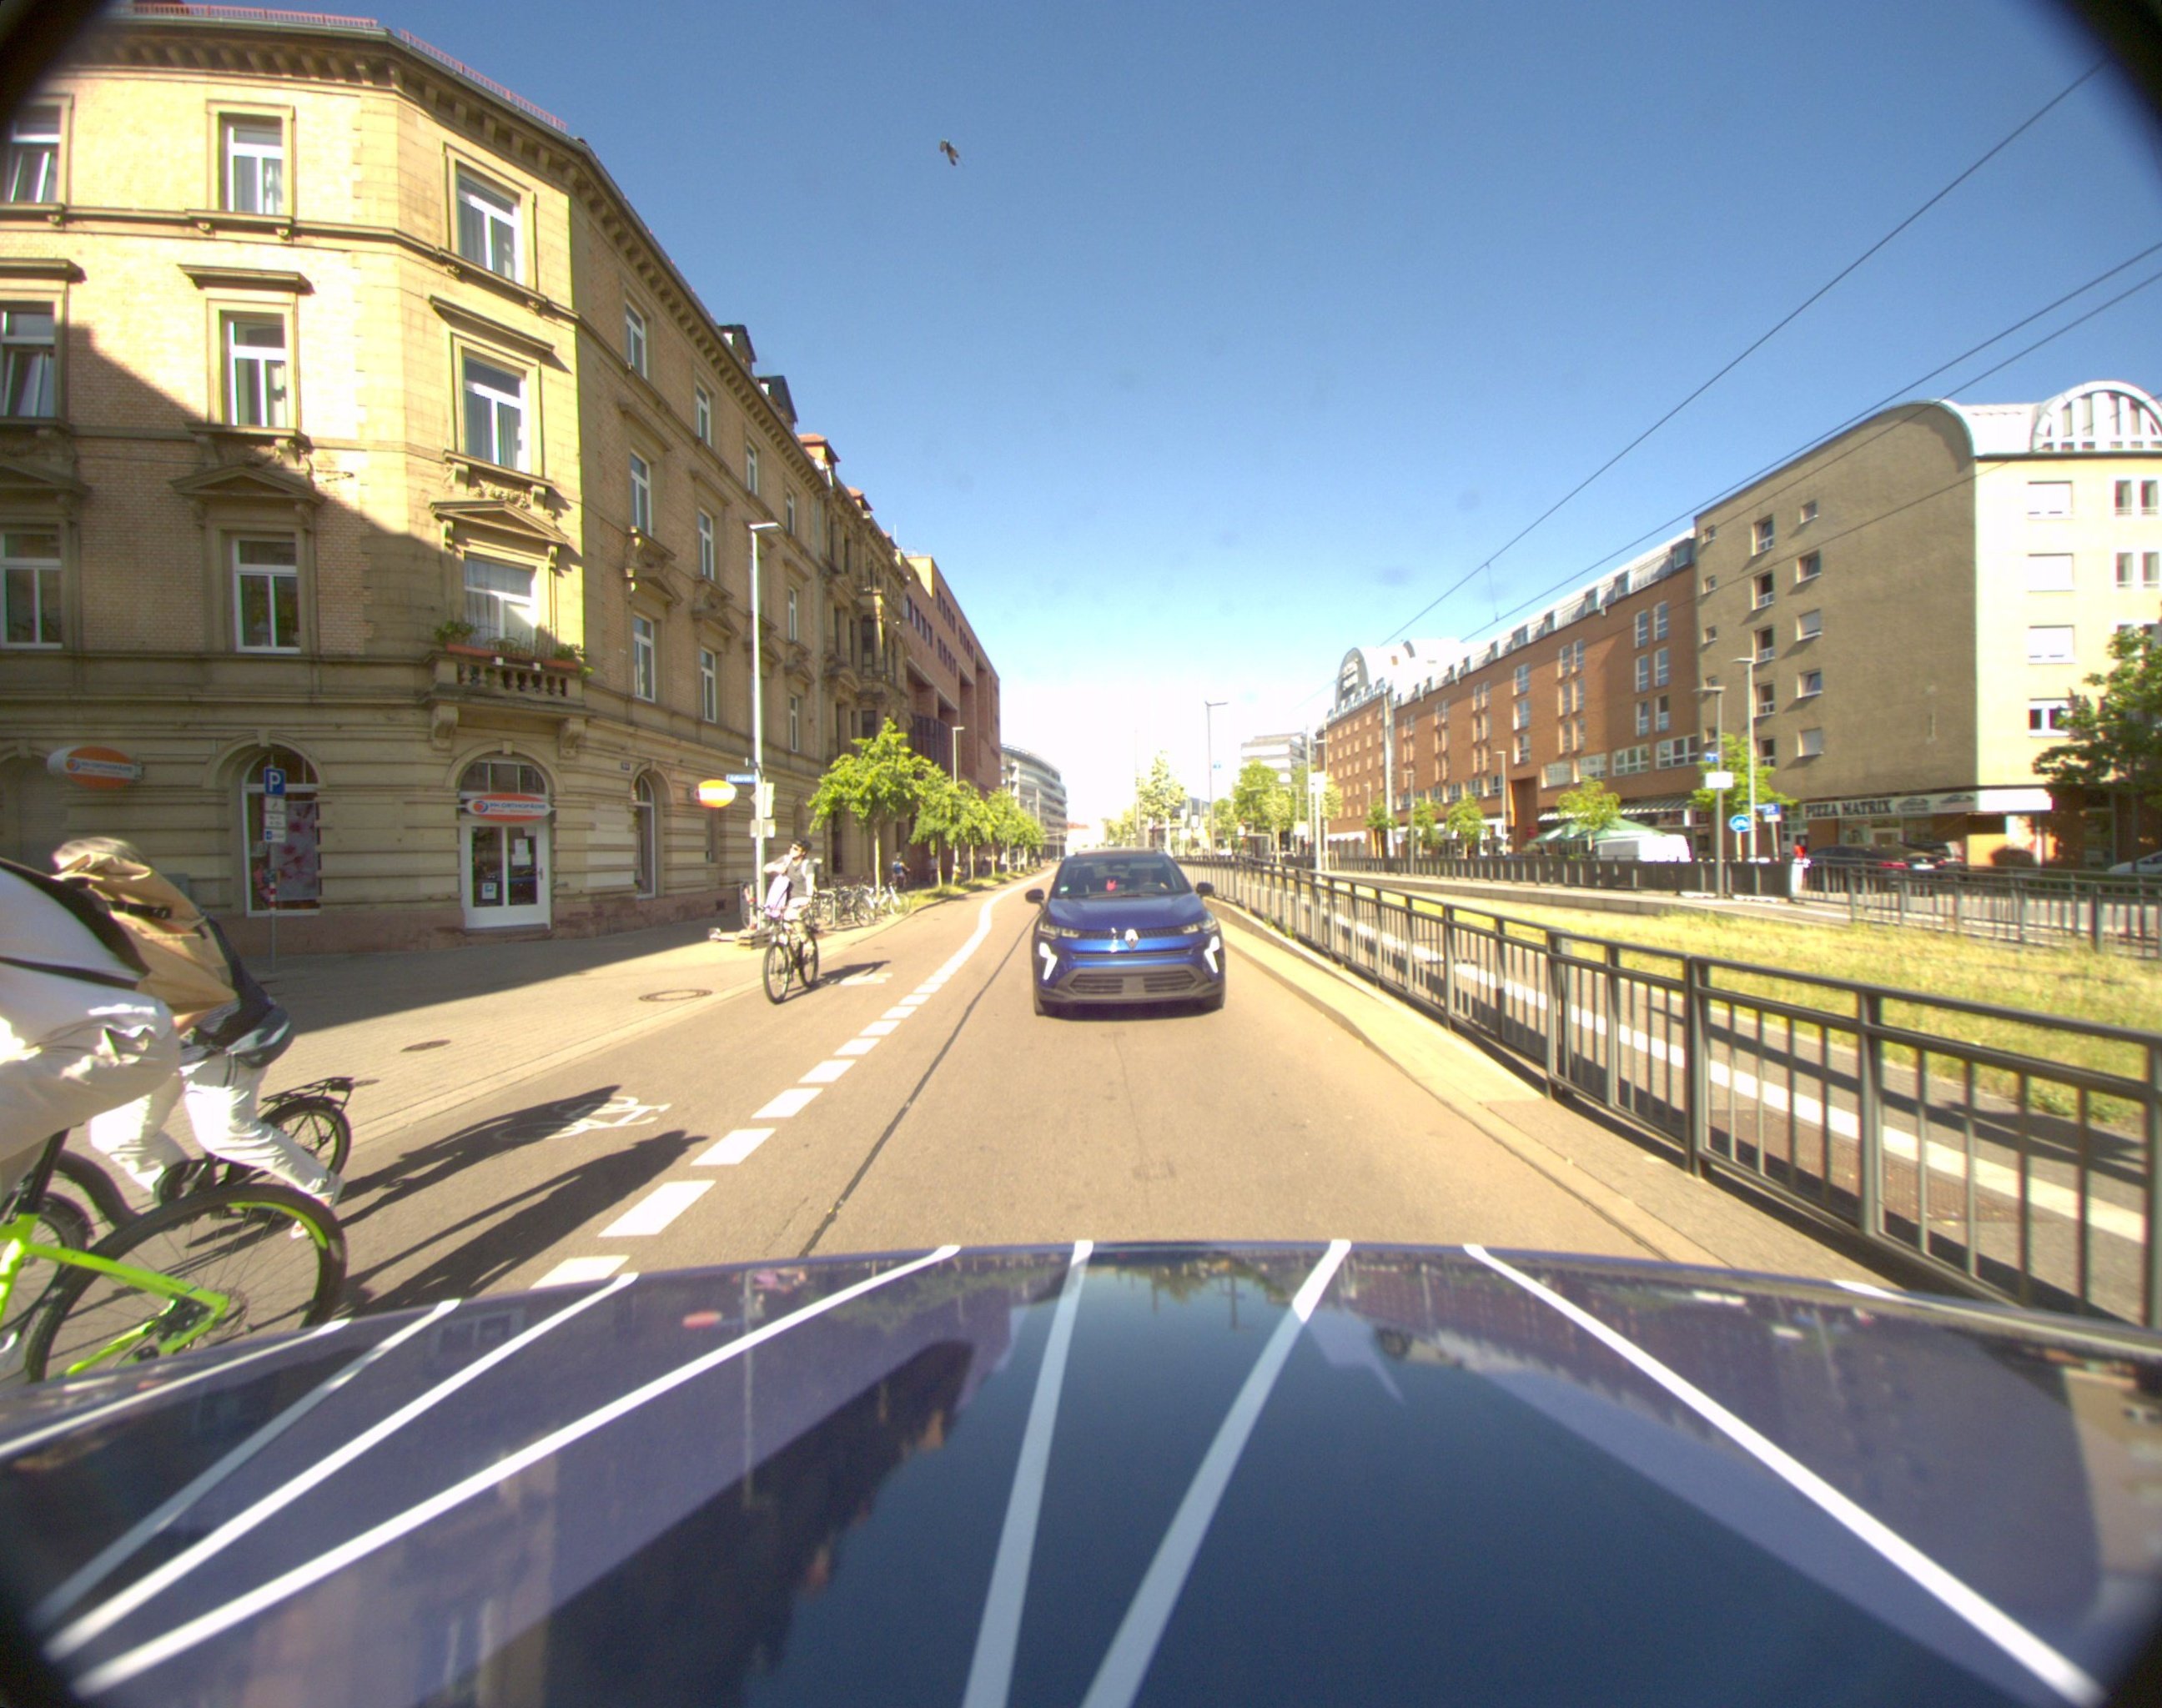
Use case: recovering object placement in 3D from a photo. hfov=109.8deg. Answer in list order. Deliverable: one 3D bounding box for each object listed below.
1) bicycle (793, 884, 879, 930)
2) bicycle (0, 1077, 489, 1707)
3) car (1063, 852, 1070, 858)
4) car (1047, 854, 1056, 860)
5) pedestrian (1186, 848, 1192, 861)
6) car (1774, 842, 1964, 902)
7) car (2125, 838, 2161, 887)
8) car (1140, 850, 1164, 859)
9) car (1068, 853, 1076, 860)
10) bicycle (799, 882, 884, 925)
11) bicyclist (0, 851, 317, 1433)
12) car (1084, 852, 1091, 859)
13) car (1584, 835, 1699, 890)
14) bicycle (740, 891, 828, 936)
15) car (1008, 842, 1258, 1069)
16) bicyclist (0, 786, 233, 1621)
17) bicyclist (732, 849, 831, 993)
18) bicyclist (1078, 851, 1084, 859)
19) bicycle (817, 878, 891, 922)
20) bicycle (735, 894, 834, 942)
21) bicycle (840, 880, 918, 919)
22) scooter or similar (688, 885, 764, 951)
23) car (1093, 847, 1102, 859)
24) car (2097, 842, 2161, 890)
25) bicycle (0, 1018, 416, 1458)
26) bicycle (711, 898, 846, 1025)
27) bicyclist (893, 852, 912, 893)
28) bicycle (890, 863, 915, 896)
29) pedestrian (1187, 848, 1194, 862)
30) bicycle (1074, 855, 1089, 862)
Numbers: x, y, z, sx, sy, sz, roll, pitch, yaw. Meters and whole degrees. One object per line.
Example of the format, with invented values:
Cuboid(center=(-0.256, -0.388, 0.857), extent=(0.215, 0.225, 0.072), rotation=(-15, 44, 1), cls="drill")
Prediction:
Cuboid(center=(-5.888, 1.276, 18.337), extent=(1.876, 1.043, 0.608), rotation=(1, 1, -4), cls="bicycle")
Cuboid(center=(-2.498, 1.252, 1.524), extent=(0.724, 1.000, 1.955), rotation=(-2, 0, 18), cls="bicycle")
Cuboid(center=(-3.649, 0.232, 193.283), extent=(1.745, 1.543, 4.000), rotation=(-1, 0, 1), cls="car")
Cuboid(center=(-6.869, 0.693, 177.904), extent=(1.745, 1.543, 4.000), rotation=(-1, 0, 0), cls="car")
Cuboid(center=(15.513, 0.043, 109.392), extent=(0.600, 1.878, 0.743), rotation=(-1, 1, 25), cls="pedestrian")
Cuboid(center=(24.266, 0.492, 23.641), extent=(1.699, 1.630, 3.999), rotation=(-2, 1, -1), cls="car")
Cuboid(center=(35.639, 0.286, 23.337), extent=(1.473, 1.543, 3.964), rotation=(-3, 1, -8), cls="car")
Cuboid(center=(13.902, 0.062, 148.871), extent=(4.416, 1.546, 1.759), rotation=(-1, 0, 1), cls="car")
Cuboid(center=(-2.018, 0.500, 177.315), extent=(1.745, 1.543, 4.000), rotation=(-1, 0, 1), cls="car")
Cuboid(center=(-6.220, 1.291, 19.852), extent=(1.903, 1.024, 1.030), rotation=(1, 1, -2), cls="bicycle")
Cuboid(center=(-3.647, 0.867, 2.657), extent=(0.854, 1.717, 0.989), rotation=(-3, 1, 1), cls="bicyclist")
Cuboid(center=(1.510, 0.370, 175.982), extent=(1.745, 1.543, 4.000), rotation=(-1, 0, 1), cls="car")
Cuboid(center=(25.397, 0.309, 34.697), extent=(1.997, 2.283, 5.191), rotation=(-2, 1, 9), cls="car")
Cuboid(center=(-6.532, 1.312, 16.760), extent=(1.717, 0.920, 0.497), rotation=(-1, 1, 1), cls="bicycle")
Cuboid(center=(0.419, 0.750, 7.846), extent=(1.758, 1.576, 4.420), rotation=(-4, 0, 1), cls="car")
Cuboid(center=(-2.542, 0.703, 1.444), extent=(0.699, 1.647, 0.978), rotation=(-2, 1, 18), cls="bicyclist")
Cuboid(center=(-3.507, 0.751, 8.967), extent=(0.725, 1.595, 0.895), rotation=(-3, 1, 1), cls="bicyclist")
Cuboid(center=(0.005, 0.152, 125.220), extent=(0.859, 1.413, 0.839), rotation=(-2, 1, -3), cls="bicyclist")
Cuboid(center=(-6.259, 1.261, 20.998), extent=(1.678, 1.056, 1.134), rotation=(2, 1, -1), cls="bicycle")
Cuboid(center=(-6.284, 1.351, 16.127), extent=(1.905, 0.906, 0.592), rotation=(1, 2, 9), cls="bicycle")
Cuboid(center=(-5.929, 1.321, 22.400), extent=(2.062, 1.036, 0.847), rotation=(2, 1, 0), cls="bicycle")
Cuboid(center=(-6.804, 1.217, 14.612), extent=(1.199, 1.191, 0.487), rotation=(-1, 1, -4), cls="scooter or similar")
Cuboid(center=(3.474, -0.136, 162.848), extent=(1.758, 2.472, 4.610), rotation=(-2, 0, 1), cls="car")
Cuboid(center=(33.469, 0.359, 22.753), extent=(1.438, 1.420, 3.345), rotation=(-3, 1, -12), cls="car")
Cuboid(center=(-3.629, 1.304, 2.655), extent=(0.830, 1.000, 1.952), rotation=(-3, 0, 1), cls="bicycle")
Cuboid(center=(-3.486, 1.190, 8.973), extent=(0.725, 1.187, 1.952), rotation=(-3, 0, 1), cls="bicycle")
Cuboid(center=(-7.262, 0.734, 30.901), extent=(0.579, 1.608, 0.794), rotation=(-1, 1, -2), cls="bicyclist")
Cuboid(center=(-7.266, 1.014, 30.981), extent=(0.579, 1.246, 2.097), rotation=(-1, 1, -2), cls="bicycle")
Cuboid(center=(14.795, 0.149, 102.656), extent=(0.821, 1.878, 0.769), rotation=(-1, 1, 5), cls="pedestrian")
Cuboid(center=(0.079, 0.718, 125.227), extent=(2.275, 1.118, 0.850), rotation=(-2, 1, -3), cls="bicycle")
